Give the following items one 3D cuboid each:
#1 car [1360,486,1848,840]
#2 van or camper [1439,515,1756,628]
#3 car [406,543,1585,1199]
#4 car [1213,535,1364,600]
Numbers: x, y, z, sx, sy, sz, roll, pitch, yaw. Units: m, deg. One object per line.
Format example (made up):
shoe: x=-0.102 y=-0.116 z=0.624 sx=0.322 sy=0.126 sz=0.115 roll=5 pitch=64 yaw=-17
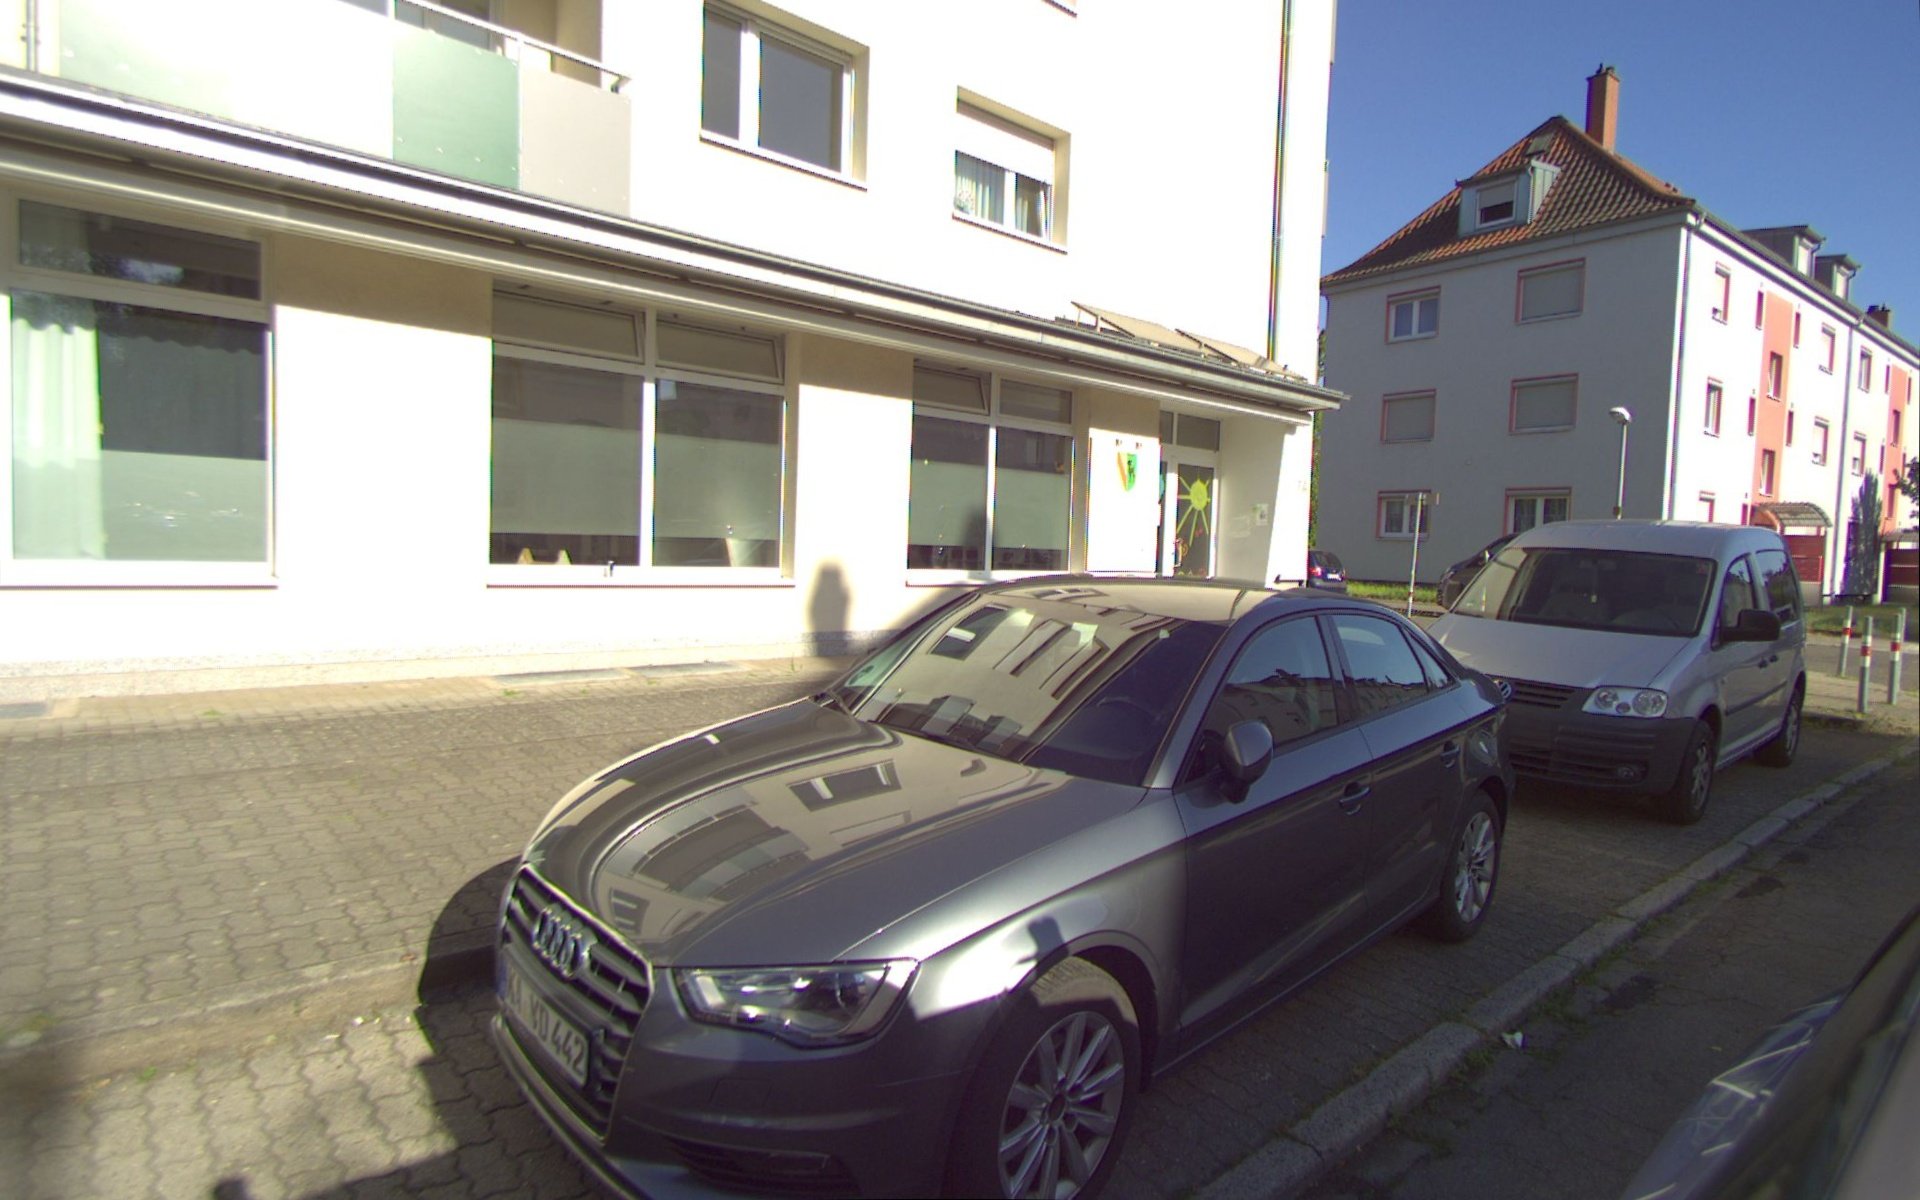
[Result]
car: x=4.757 y=0.208 z=7.248 sx=4.060 sy=1.845 sz=1.751 roll=-2 pitch=6 yaw=-41
van or camper: x=13.029 y=-0.671 z=21.023 sx=1.964 sy=2.038 sz=5.138 roll=1 pitch=3 yaw=-39
car: x=0.663 y=0.532 z=3.721 sx=4.471 sy=1.424 sz=1.680 roll=-2 pitch=4 yaw=-44
car: x=8.656 y=-0.912 z=26.904 sx=1.649 sy=1.548 sz=3.486 roll=-1 pitch=5 yaw=-36
